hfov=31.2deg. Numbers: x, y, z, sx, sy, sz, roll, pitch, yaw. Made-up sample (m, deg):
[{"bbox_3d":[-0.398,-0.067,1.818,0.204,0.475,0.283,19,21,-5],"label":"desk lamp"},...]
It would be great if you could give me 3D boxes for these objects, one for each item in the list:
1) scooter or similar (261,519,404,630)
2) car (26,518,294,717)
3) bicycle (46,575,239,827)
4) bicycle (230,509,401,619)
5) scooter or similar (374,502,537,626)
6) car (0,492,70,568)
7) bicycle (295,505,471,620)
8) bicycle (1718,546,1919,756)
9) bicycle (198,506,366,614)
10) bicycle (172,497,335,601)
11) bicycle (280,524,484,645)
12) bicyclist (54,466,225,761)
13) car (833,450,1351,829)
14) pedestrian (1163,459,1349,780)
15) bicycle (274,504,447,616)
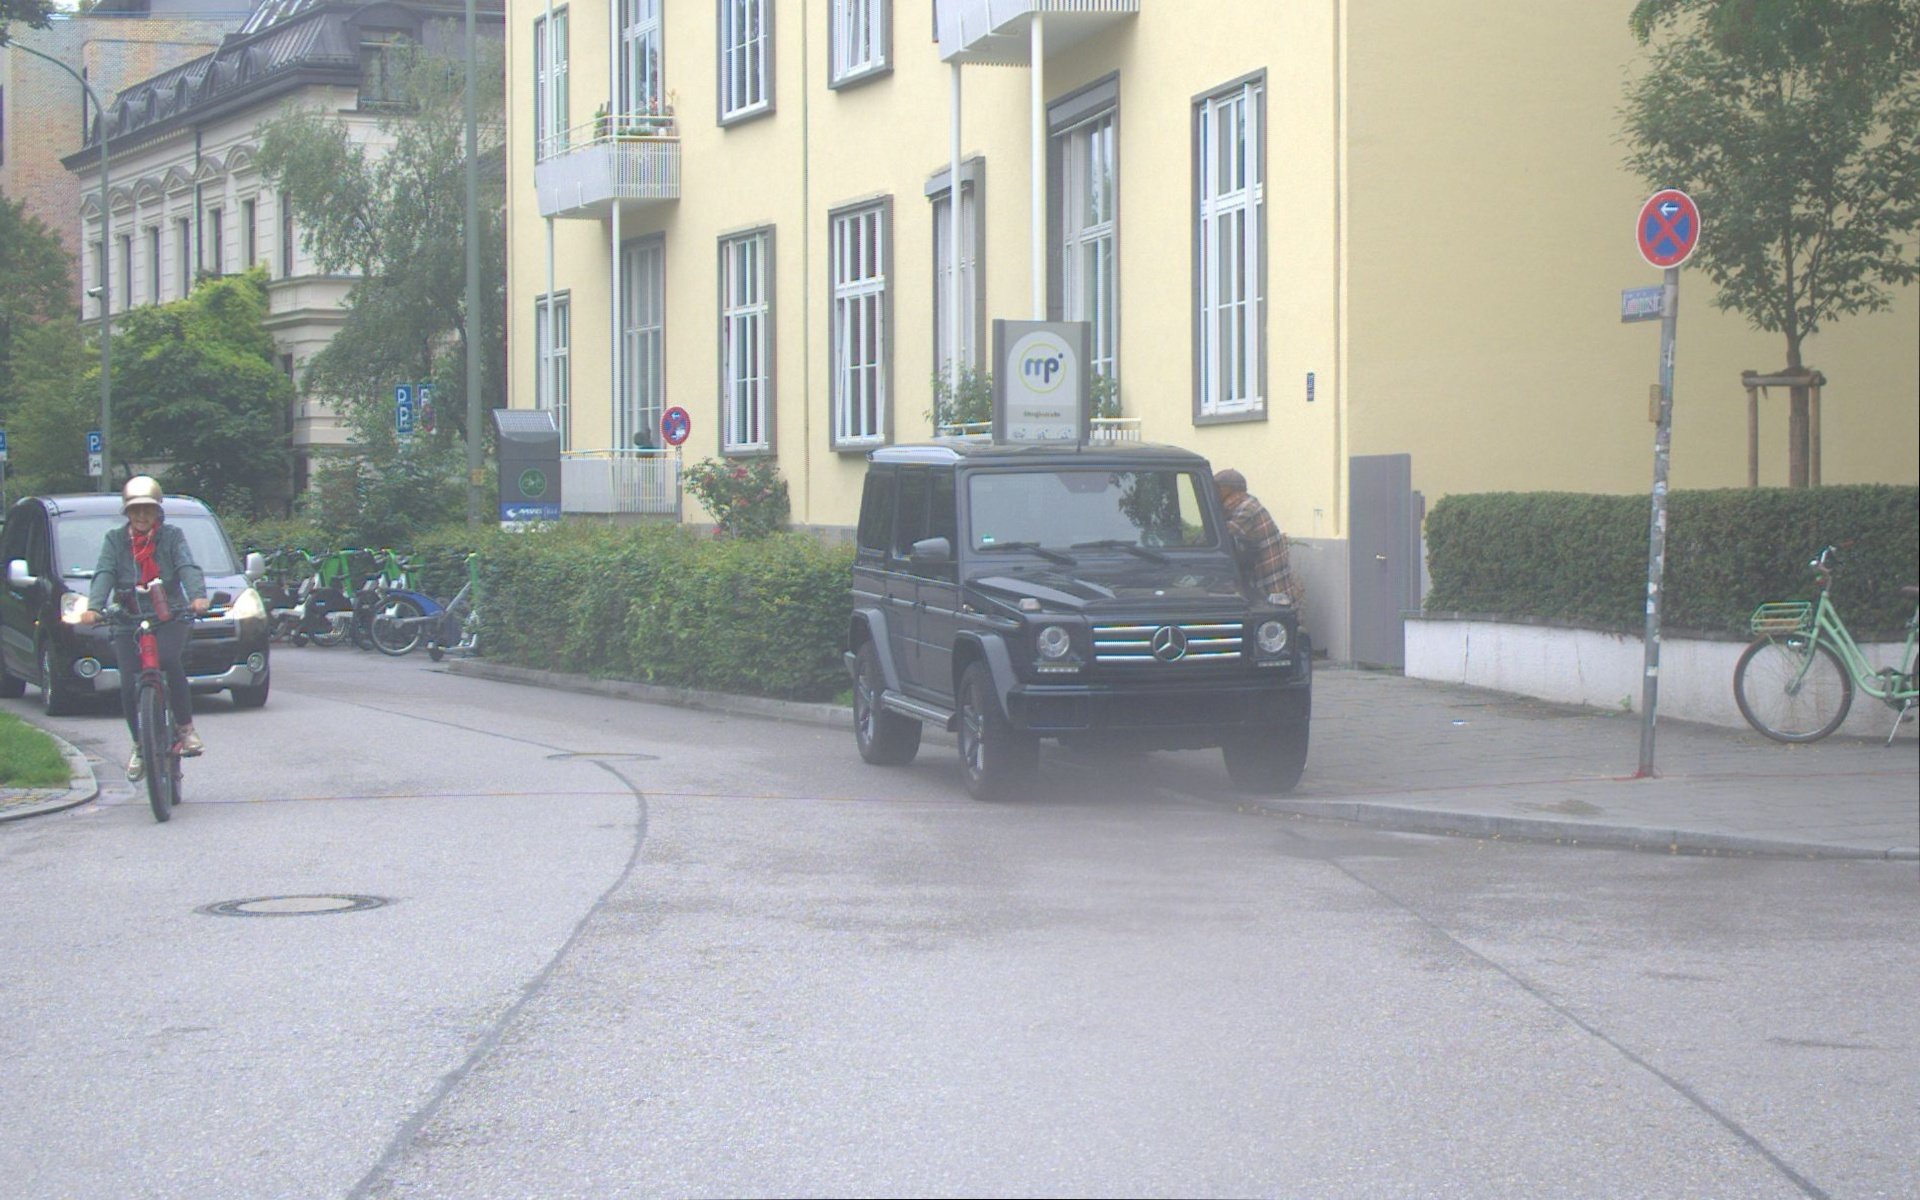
[{"bbox_3d":[-7.628,-0.329,41.827,0.733,1.301,1.727,1,2,32],"label":"scooter or similar"},{"bbox_3d":[-6.671,0.083,28.397,1.914,1.466,4.002,-1,2,-16],"label":"car"},{"bbox_3d":[-4.374,0.505,18.524,0.743,1.210,2.145,-1,2,-7],"label":"bicycle"},{"bbox_3d":[-7.931,-0.465,42.394,0.733,1.301,2.152,1,2,35],"label":"bicycle"},{"bbox_3d":[-5.491,-0.413,37.560,0.733,1.301,2.153,1,2,23],"label":"scooter or similar"},{"bbox_3d":[-17.992,-1.307,64.112,1.993,1.367,4.001,-1,2,-25],"label":"car"},{"bbox_3d":[-6.793,-0.461,40.584,0.733,1.301,2.152,1,2,35],"label":"bicycle"},{"bbox_3d":[5.440,0.289,20.082,0.594,1.197,1.927,-2,0,-45],"label":"bicycle"},{"bbox_3d":[-8.479,-0.514,43.088,0.733,1.301,2.152,1,2,35],"label":"bicycle"},{"bbox_3d":[-9.201,-0.682,44.832,0.733,1.301,2.152,1,2,35],"label":"bicycle"},{"bbox_3d":[-6.453,-0.189,38.481,2.149,1.301,0.734,-2,2,-38],"label":"bicycle"},{"bbox_3d":[-4.357,0.054,18.313,0.743,1.515,0.946,-1,2,-7],"label":"bicyclist"},{"bbox_3d":[0.617,0.123,19.852,1.762,1.868,4.381,3,2,-14],"label":"car"},{"bbox_3d":[1.706,0.093,19.895,0.874,1.817,0.799,0,2,-12],"label":"pedestrian"},{"bbox_3d":[-7.208,-0.498,41.439,0.733,1.301,2.152,1,2,35],"label":"bicycle"}]
